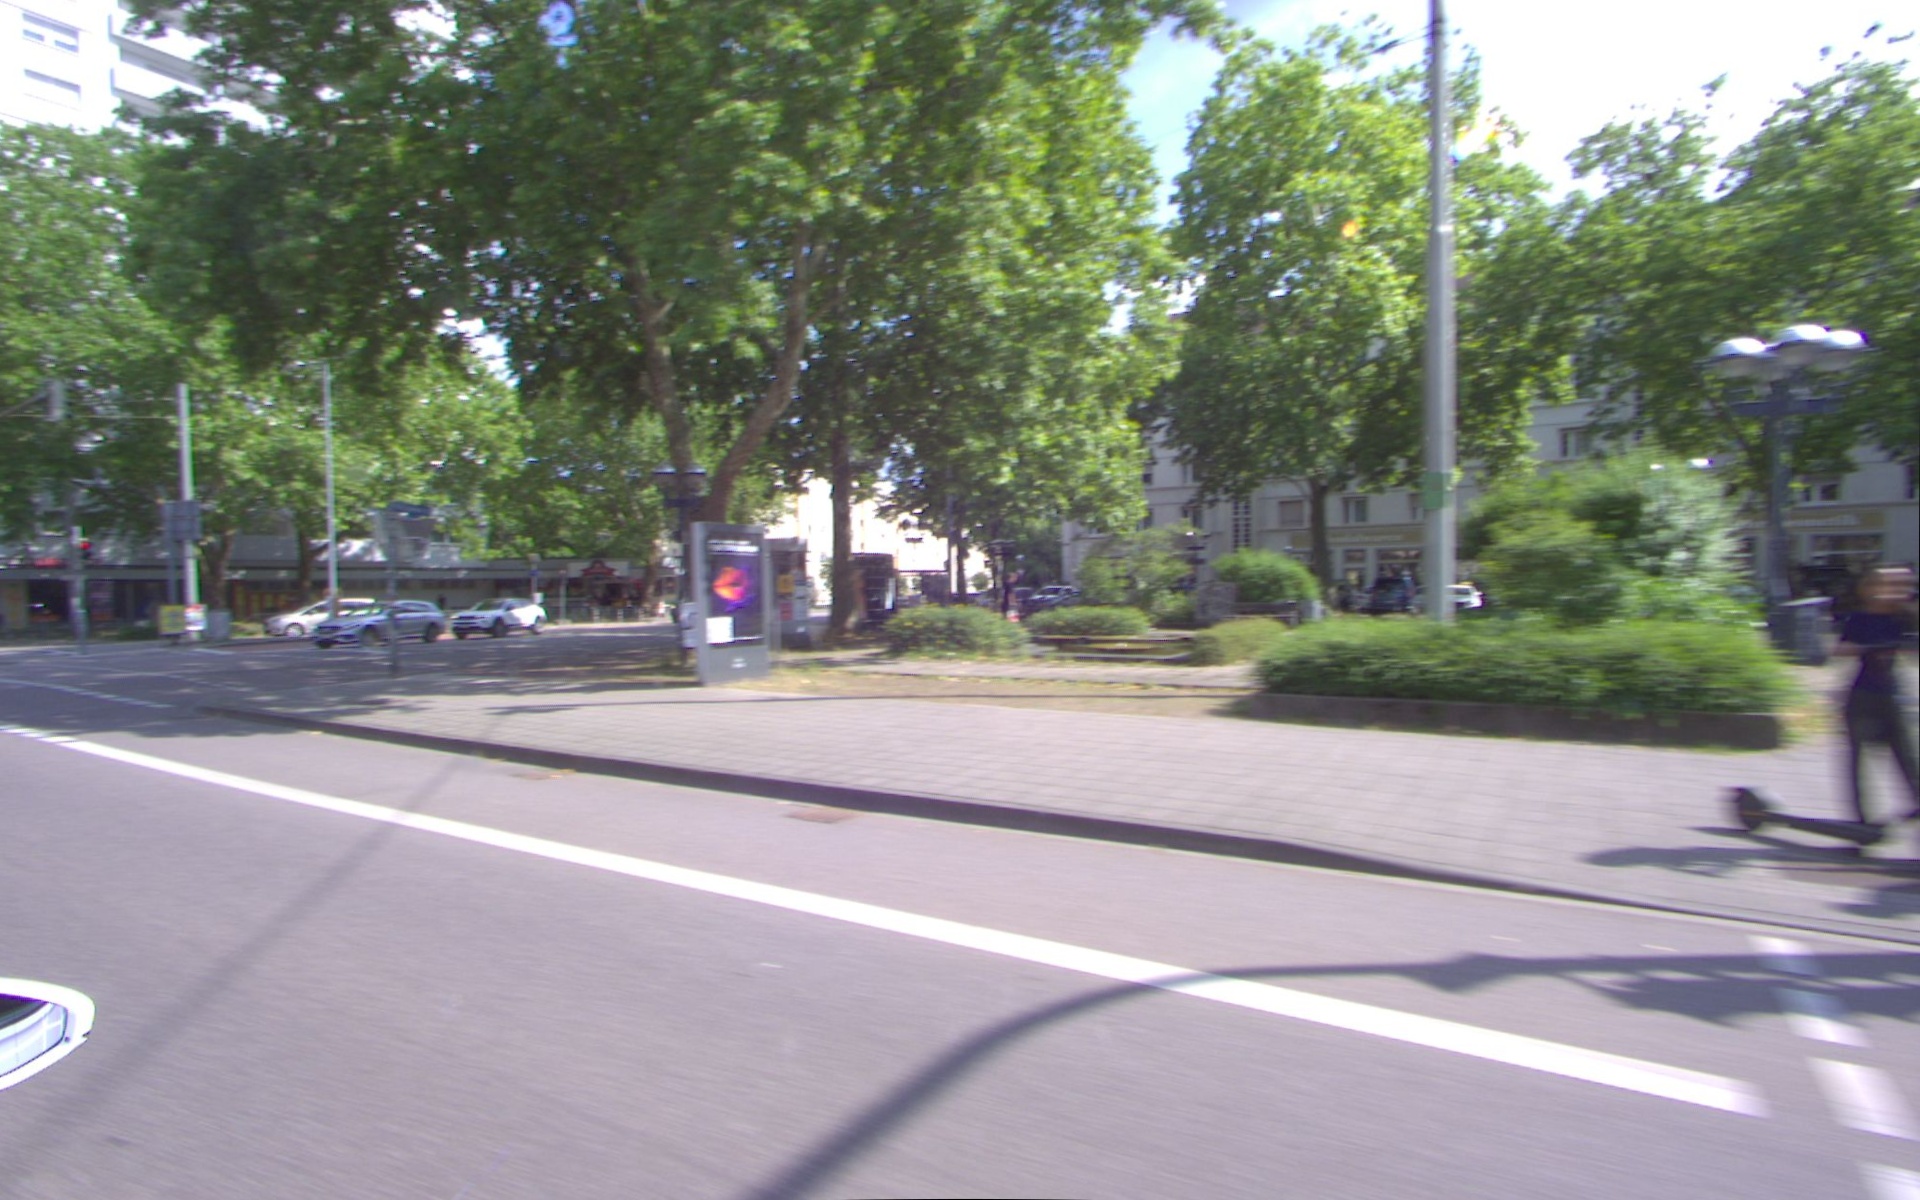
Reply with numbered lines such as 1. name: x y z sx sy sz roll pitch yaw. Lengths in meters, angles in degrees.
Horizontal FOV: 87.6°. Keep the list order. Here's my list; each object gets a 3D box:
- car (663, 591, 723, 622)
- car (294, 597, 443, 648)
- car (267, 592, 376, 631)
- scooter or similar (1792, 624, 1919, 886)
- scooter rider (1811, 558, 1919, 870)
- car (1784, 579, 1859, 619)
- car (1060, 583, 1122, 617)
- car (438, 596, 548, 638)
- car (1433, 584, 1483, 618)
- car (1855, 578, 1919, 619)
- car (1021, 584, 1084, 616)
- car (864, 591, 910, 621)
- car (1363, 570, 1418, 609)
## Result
1. car: -14.974 0.350 56.380 1.659 1.641 3.996 -1 1 11
2. car: -19.218 0.683 32.757 1.827 1.510 3.993 -1 1 16
3. car: -27.073 0.453 42.561 3.796 1.510 1.849 -1 1 -33
4. scooter or similar: 5.034 0.780 5.344 0.534 1.243 0.875 -1 3 11
5. scooter rider: 5.038 0.589 5.376 0.534 1.616 0.437 -1 3 11
6. car: 38.583 -0.071 44.966 1.824 1.682 4.062 0 1 30
7. car: 7.064 -0.027 53.707 1.825 1.682 4.061 0 1 32
8. car: -18.141 0.631 39.115 1.826 1.510 4.071 -1 1 12
9. car: 21.561 0.007 43.286 1.840 1.372 3.926 0 1 28
10. car: 40.405 -0.092 43.258 1.824 1.682 4.062 0 1 30
11. car: 5.122 -0.020 54.856 1.825 1.682 4.061 0 1 32
12. car: -4.030 0.297 55.886 1.658 1.522 3.996 -1 2 10
13. car: 19.457 -0.485 45.150 1.969 1.707 3.982 0 1 28
